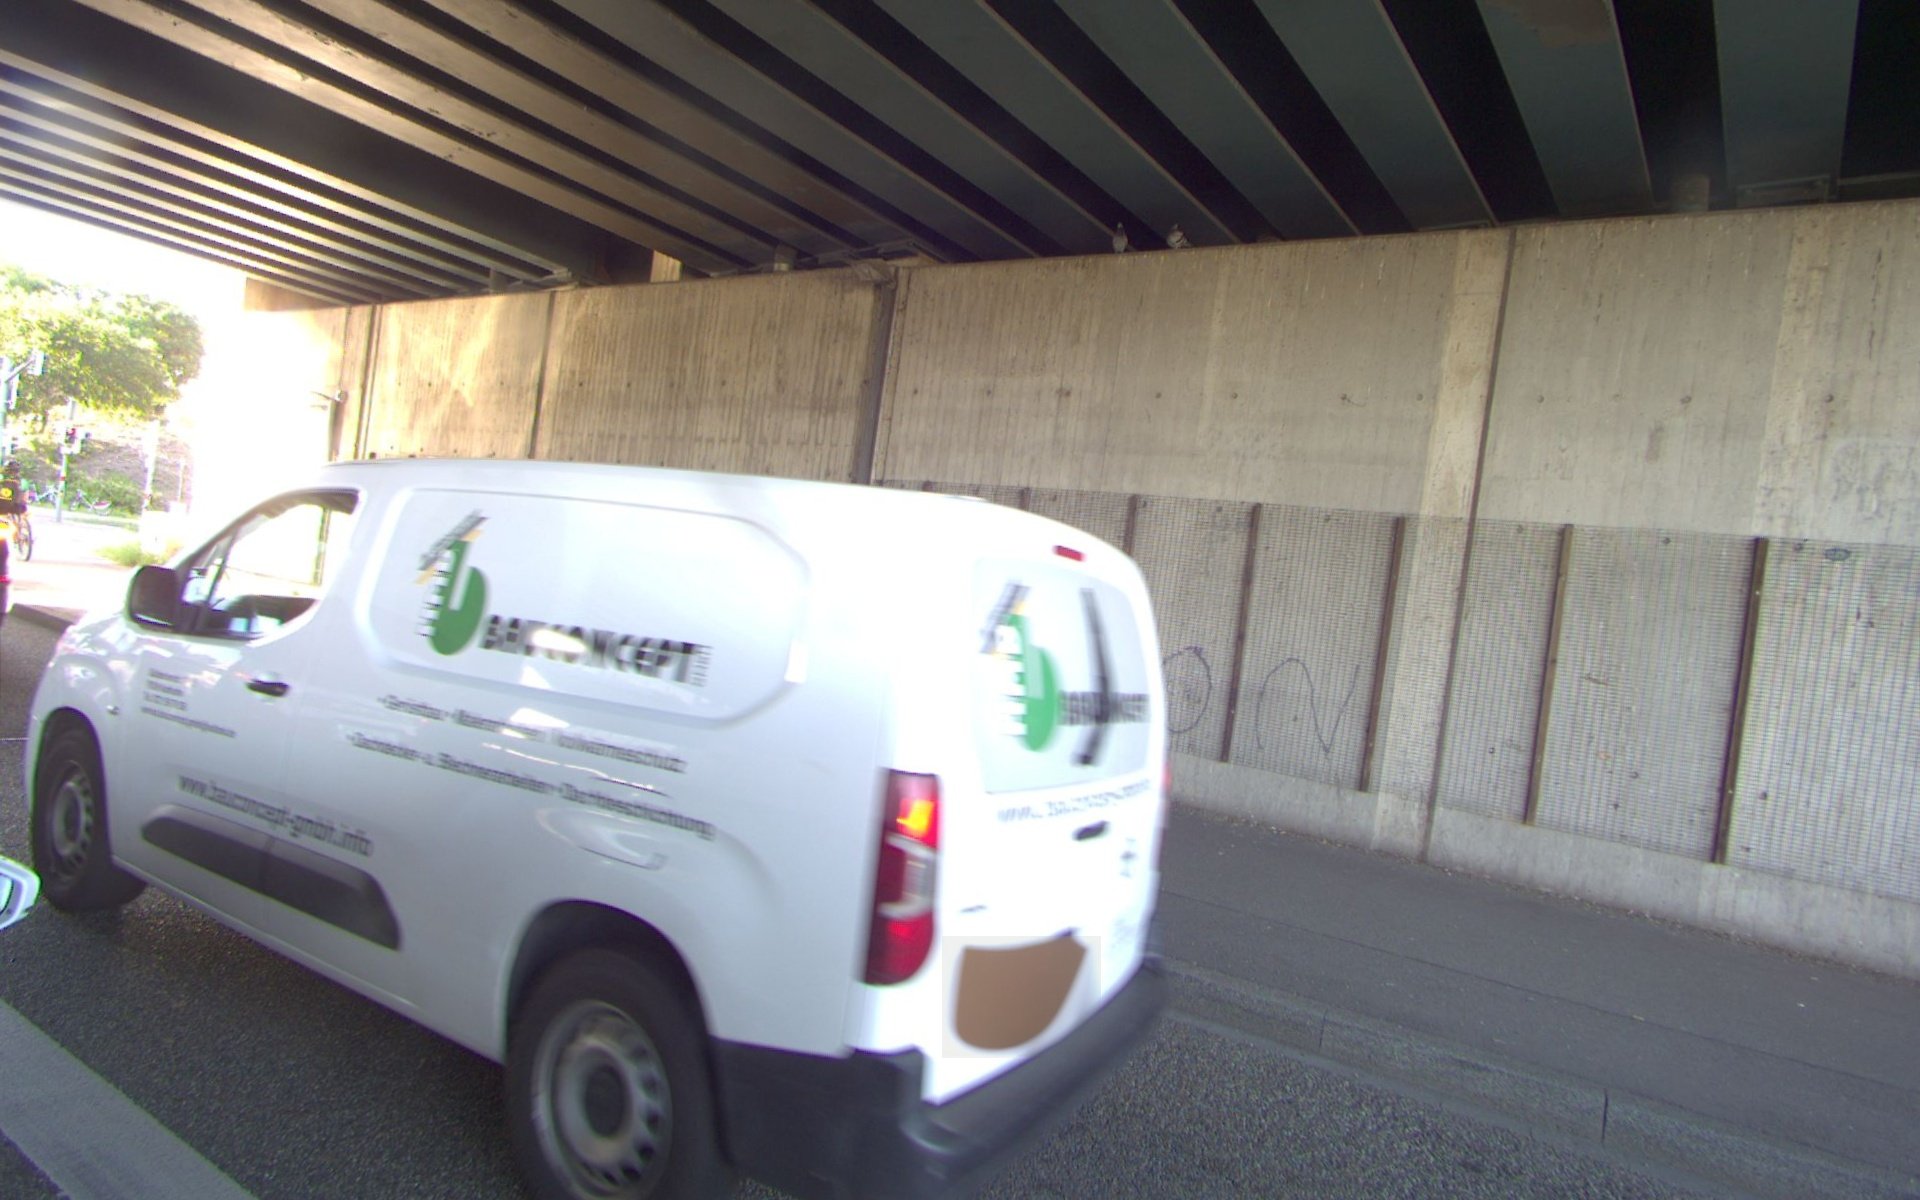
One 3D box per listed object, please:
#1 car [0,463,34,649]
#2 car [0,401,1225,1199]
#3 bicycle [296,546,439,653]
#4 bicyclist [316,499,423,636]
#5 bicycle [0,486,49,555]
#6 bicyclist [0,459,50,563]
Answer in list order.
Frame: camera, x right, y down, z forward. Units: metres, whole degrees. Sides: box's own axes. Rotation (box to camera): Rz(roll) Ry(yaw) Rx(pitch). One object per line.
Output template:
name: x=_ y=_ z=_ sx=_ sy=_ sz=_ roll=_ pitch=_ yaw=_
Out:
car: x=-10.715 y=-0.663 z=9.503 sx=3.923 sy=1.676 sz=1.781 roll=7 pitch=0 yaw=31
car: x=-1.489 y=0.479 z=3.658 sx=4.227 sy=1.855 sz=1.817 roll=8 pitch=-1 yaw=30
bicycle: x=-7.181 y=-0.012 z=12.178 sx=1.731 sy=1.071 sz=0.702 roll=8 pitch=2 yaw=32
bicyclist: x=-7.139 y=-0.390 z=12.162 sx=0.894 sy=1.544 sz=0.695 roll=7 pitch=2 yaw=32
bicycle: x=-16.129 y=-1.362 z=17.139 sx=1.508 sy=1.036 sz=0.676 roll=6 pitch=-2 yaw=43
bicyclist: x=-16.096 y=-1.520 z=17.128 sx=0.635 sy=1.647 sz=0.676 roll=6 pitch=-2 yaw=42
